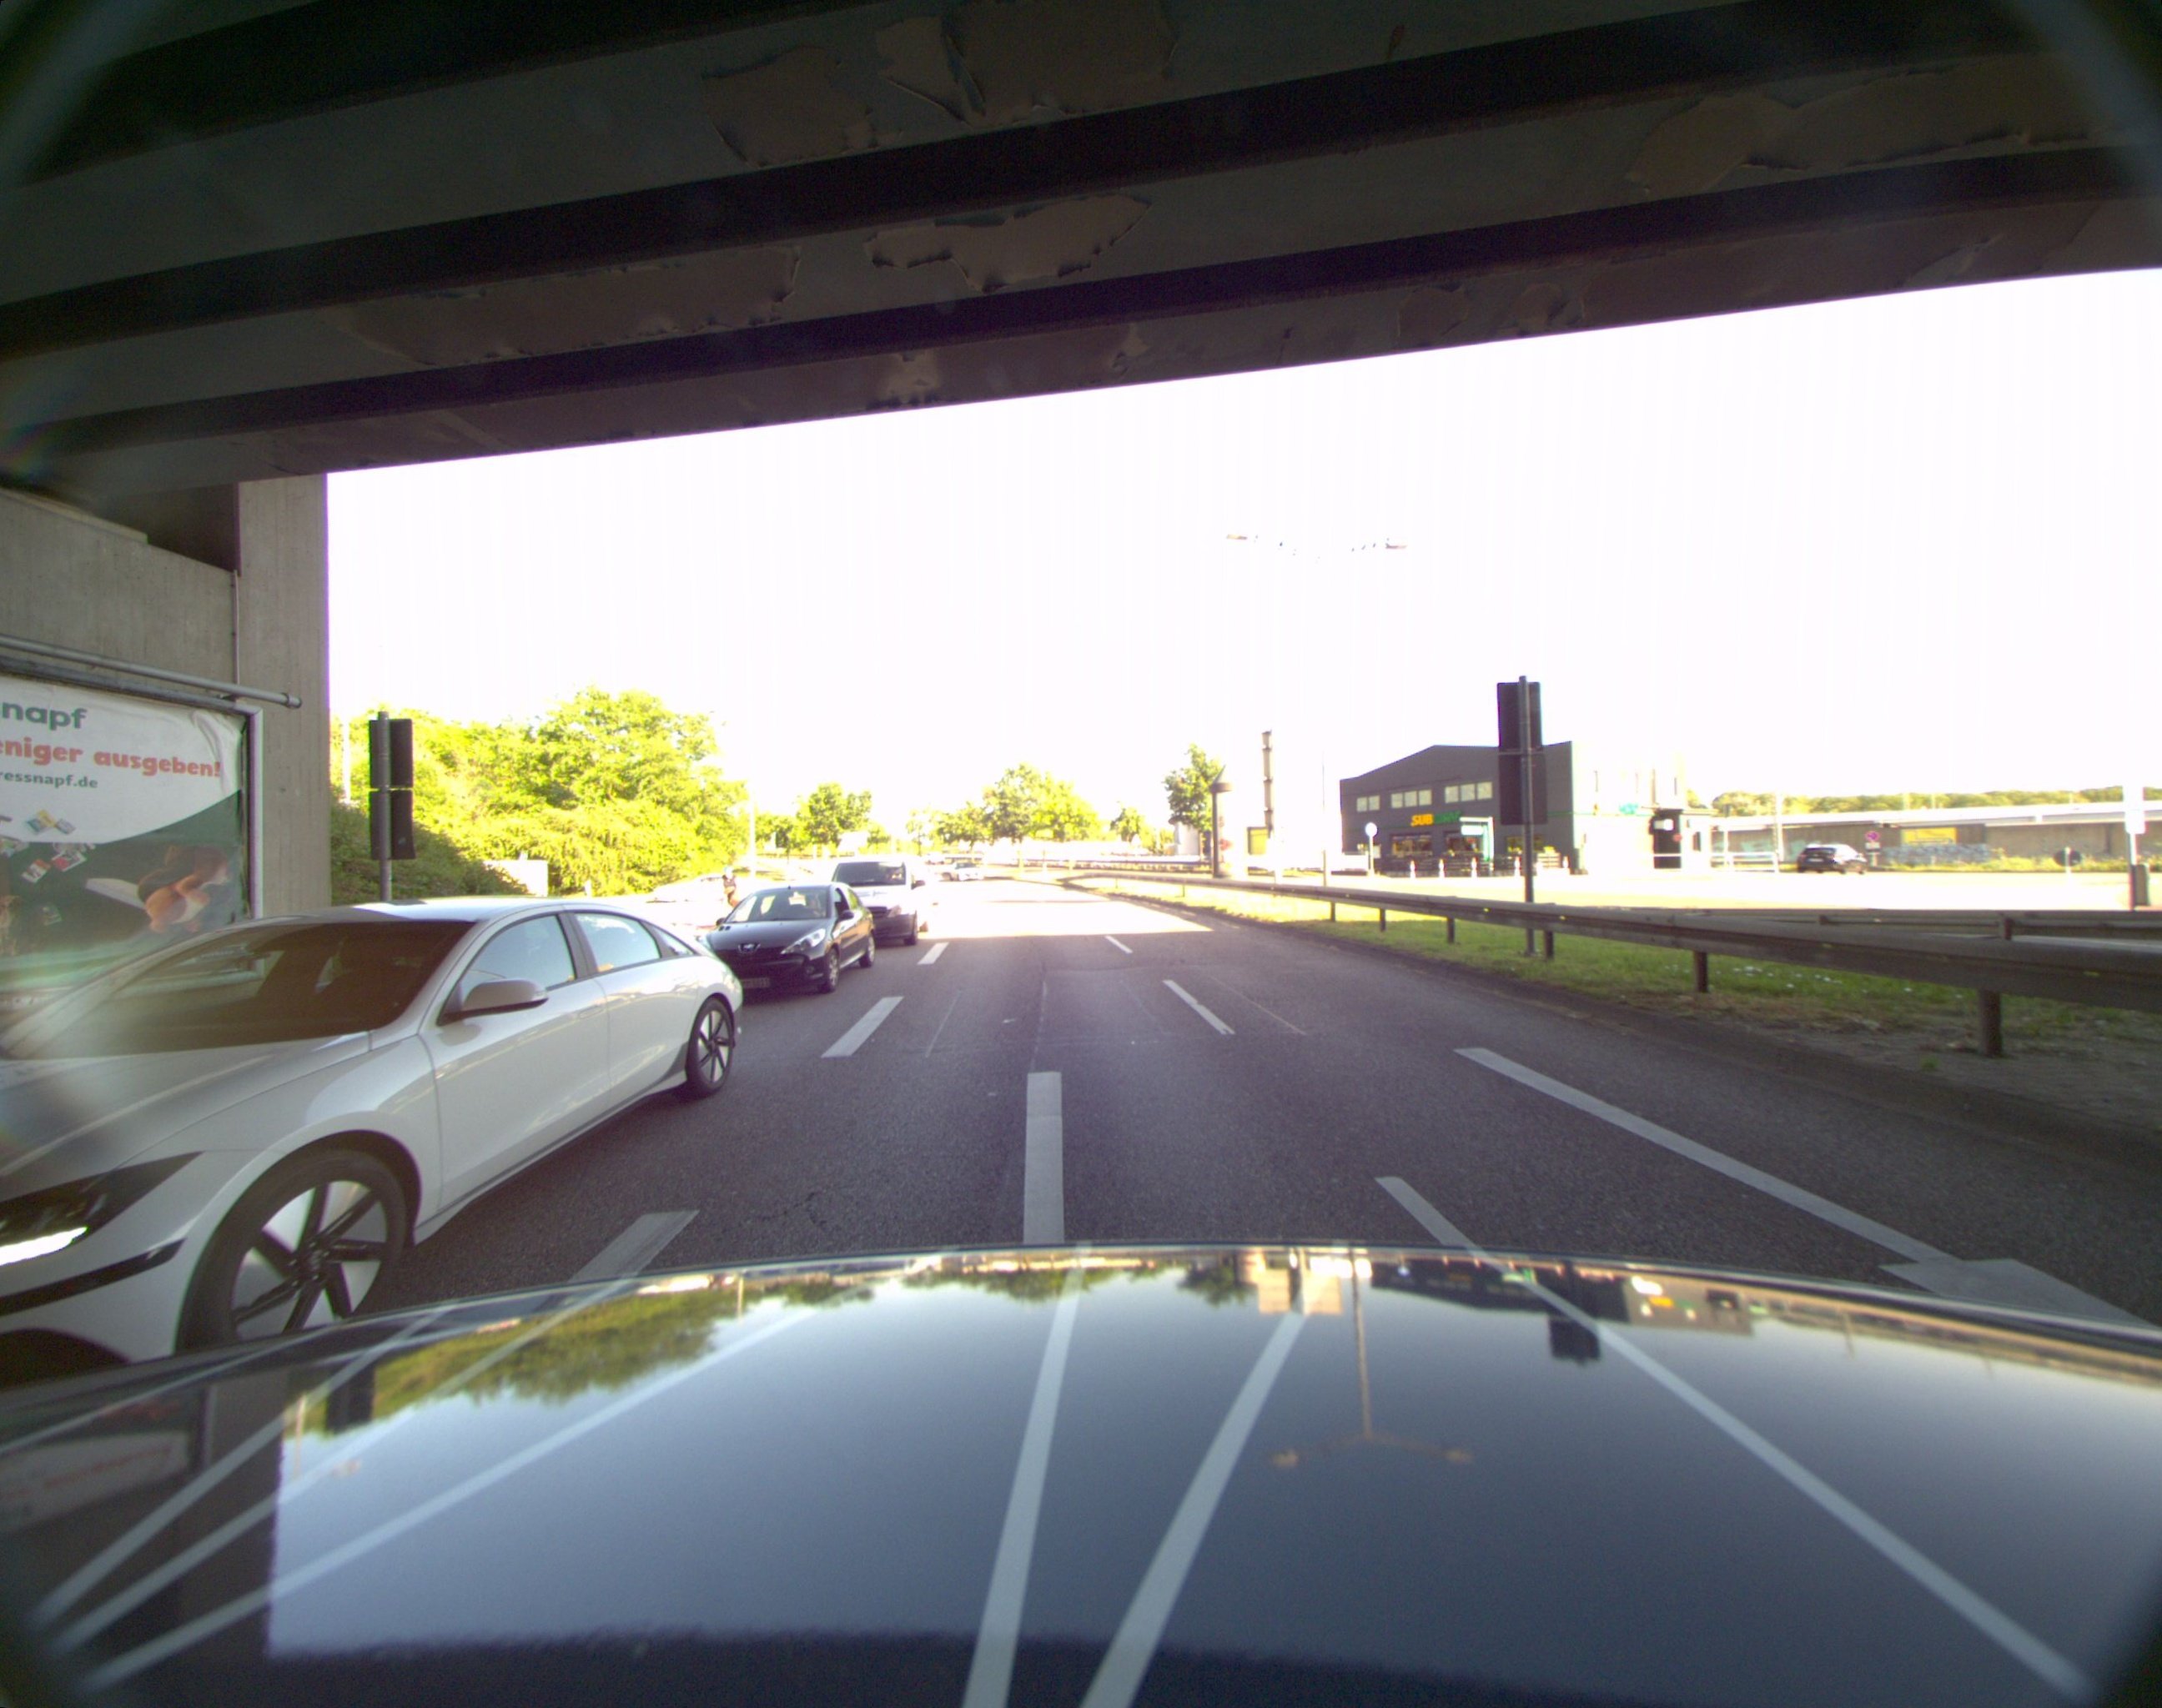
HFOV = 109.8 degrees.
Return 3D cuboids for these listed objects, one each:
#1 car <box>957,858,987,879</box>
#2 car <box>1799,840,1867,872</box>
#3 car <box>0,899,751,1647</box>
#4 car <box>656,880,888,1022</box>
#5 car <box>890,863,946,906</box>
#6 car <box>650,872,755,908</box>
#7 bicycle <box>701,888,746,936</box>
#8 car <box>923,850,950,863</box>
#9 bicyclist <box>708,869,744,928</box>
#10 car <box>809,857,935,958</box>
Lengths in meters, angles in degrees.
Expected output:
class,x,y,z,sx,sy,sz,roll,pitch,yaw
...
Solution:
class,x,y,z,sx,sy,sz,roll,pitch,yaw
car,-8.356,1.063,57.872,1.739,1.396,3.865,-3,2,-16
car,38.462,0.072,38.854,4.007,1.434,1.878,-3,1,-37
car,-3.425,1.109,3.635,1.750,1.447,4.663,-2,0,-2
car,-4.019,1.175,10.597,1.750,1.447,3.716,-2,0,-2
car,-6.700,1.201,31.672,2.000,1.542,4.417,-2,0,-9
car,-19.875,1.850,40.070,1.815,1.587,4.543,-2,1,41
bicycle,-9.351,1.492,19.935,0.653,1.160,1.777,1,-1,-11
car,-18.341,0.368,96.128,1.809,1.597,4.285,-2,0,-33
bicyclist,-9.380,1.164,20.090,0.655,1.524,0.846,1,-1,-12
car,-4.410,1.018,16.773,1.903,1.825,4.832,-2,0,-7
